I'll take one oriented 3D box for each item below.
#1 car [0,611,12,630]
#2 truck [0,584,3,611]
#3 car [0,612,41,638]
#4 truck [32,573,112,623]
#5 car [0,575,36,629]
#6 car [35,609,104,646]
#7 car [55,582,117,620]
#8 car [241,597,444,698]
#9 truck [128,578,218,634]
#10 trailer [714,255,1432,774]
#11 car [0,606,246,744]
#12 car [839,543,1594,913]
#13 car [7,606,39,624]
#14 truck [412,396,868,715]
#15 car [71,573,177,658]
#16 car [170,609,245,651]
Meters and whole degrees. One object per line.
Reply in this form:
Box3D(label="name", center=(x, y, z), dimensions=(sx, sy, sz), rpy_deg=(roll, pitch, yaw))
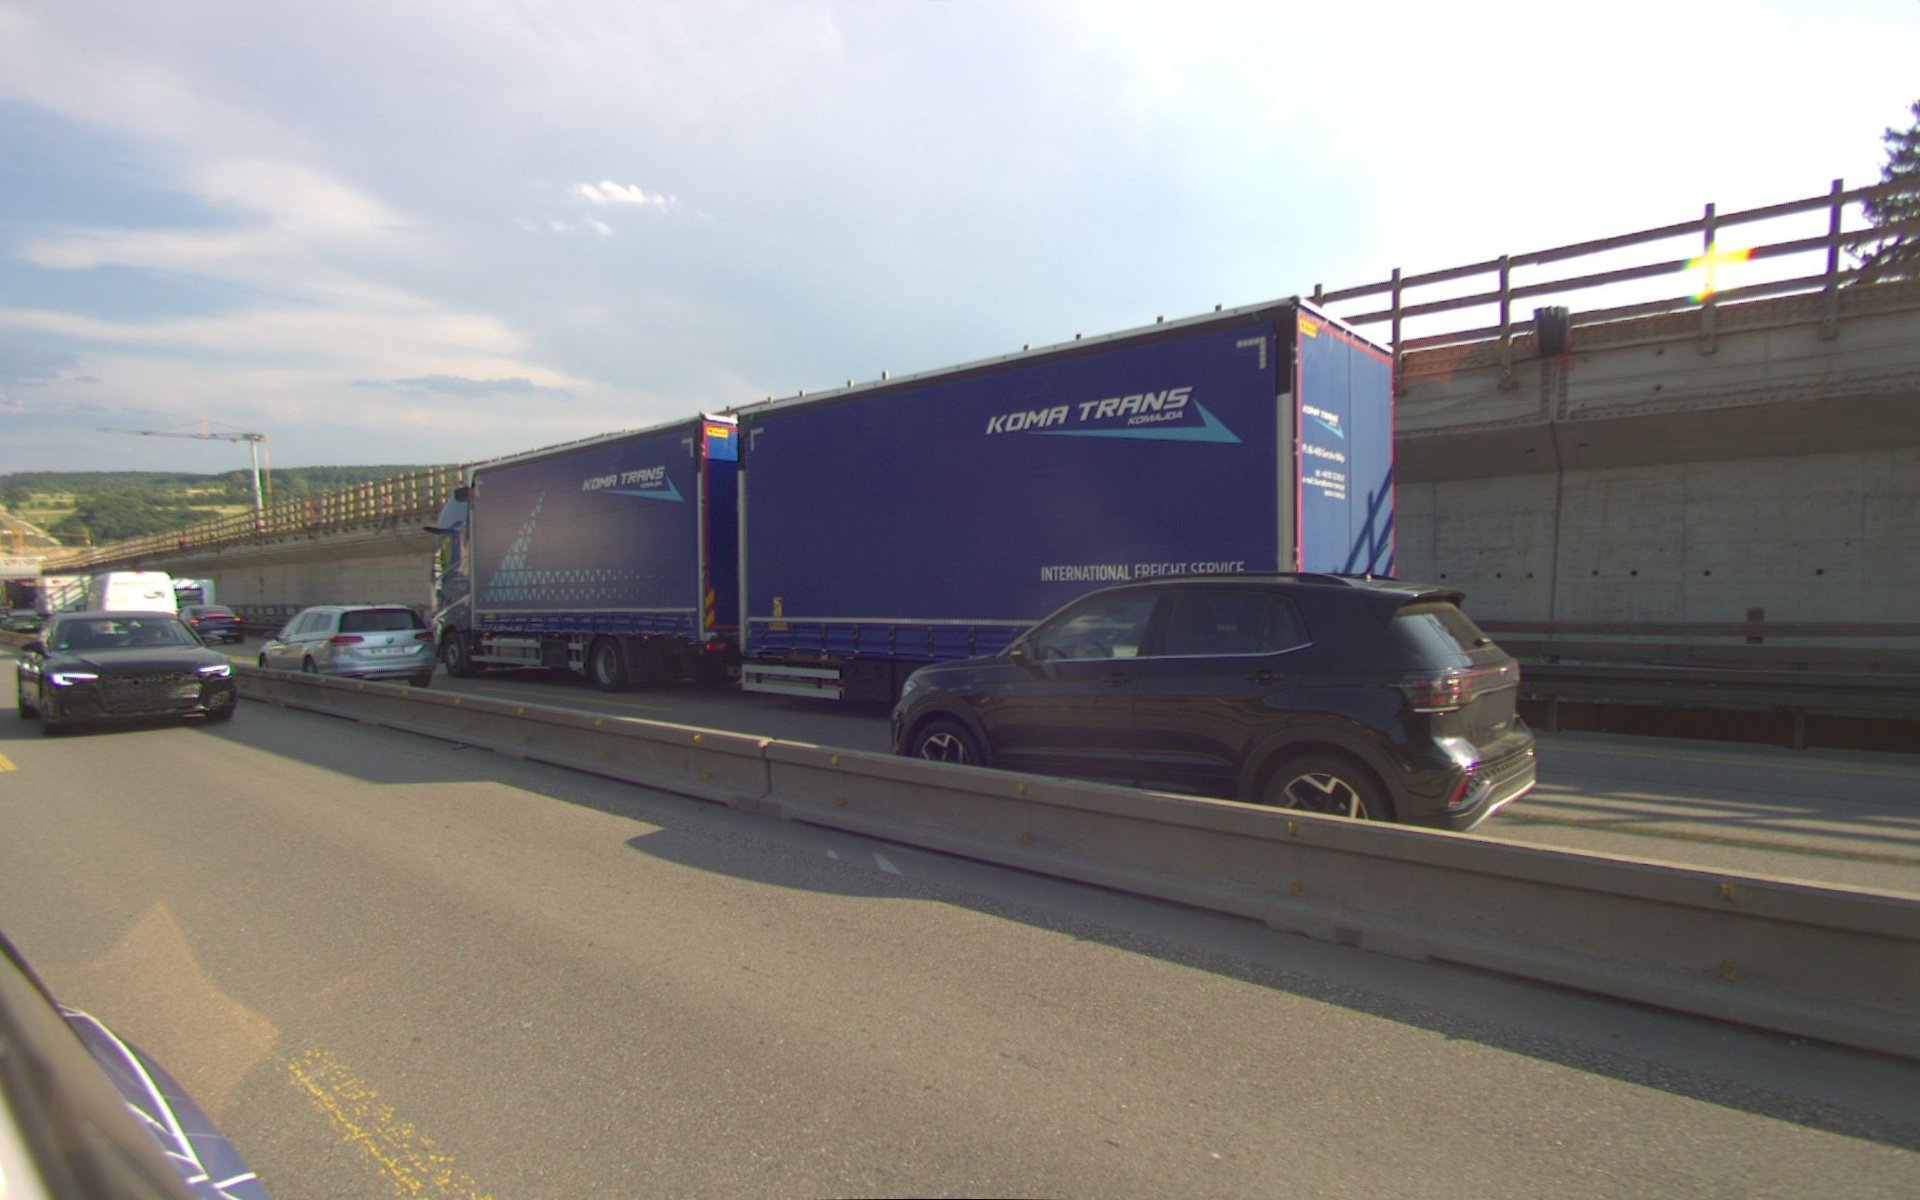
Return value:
Box3D(label="car", center=(-72.899, 1.566, 76.353), dimensions=(3.664, 1.329, 1.690), rpy_deg=(-1, 4, 43))
Box3D(label="truck", center=(-118.319, -0.263, 123.314), dimensions=(5.762, 3.196, 1.972), rpy_deg=(-1, 0, 42))
Box3D(label="car", center=(-54.688, 1.435, 58.656), dimensions=(3.664, 1.329, 1.690), rpy_deg=(-1, 4, 43))
Box3D(label="truck", center=(-59.950, -0.141, 68.271), dimensions=(6.487, 3.169, 3.201), rpy_deg=(-1, 0, 41))
Box3D(label="car", center=(-100.861, 0.183, 107.328), dimensions=(14.302, 5.427, 3.282), rpy_deg=(0, 0, 44))
Box3D(label="car", center=(-37.168, 1.129, 42.218), dimensions=(3.664, 1.329, 1.690), rpy_deg=(-1, 4, 43))
Box3D(label="car", center=(-51.200, 0.062, 59.294), dimensions=(3.973, 2.037, 2.186), rpy_deg=(-1, 4, 43))
Box3D(label="car", center=(-10.776, 0.754, 17.510), dimensions=(4.590, 1.451, 1.724), rpy_deg=(-1, 2, 42))
Box3D(label="truck", center=(-36.955, 0.268, 47.436), dimensions=(6.063, 2.317, 2.250), rpy_deg=(-1, 4, 43))
Box3D(label="trailer", center=(0.718, -0.676, 11.890), dimensions=(8.284, 4.136, 2.786), rpy_deg=(-1, 0, 42))
Box3D(label="car", center=(-11.395, 0.859, 13.554), dimensions=(5.221, 1.491, 1.920), rpy_deg=(-1, 0, 42))
Box3D(label="car", center=(1.324, 0.550, 6.425), dimensions=(4.368, 1.588, 1.681), rpy_deg=(-1, 0, 42))
Box3D(label="car", center=(-80.056, 1.257, 86.452), dimensions=(3.664, 1.329, 1.690), rpy_deg=(-1, 4, 43))
Box3D(label="truck", center=(-6.312, -0.586, 18.213), dimensions=(10.577, 4.290, 2.786), rpy_deg=(-1, 0, 42))
Box3D(label="car", center=(-28.310, 0.519, 34.187), dimensions=(5.612, 2.636, 1.975), rpy_deg=(-1, 0, 42))
Box3D(label="car", center=(-29.389, 1.120, 39.481), dimensions=(4.002, 1.397, 1.689), rpy_deg=(0, 4, 45))
